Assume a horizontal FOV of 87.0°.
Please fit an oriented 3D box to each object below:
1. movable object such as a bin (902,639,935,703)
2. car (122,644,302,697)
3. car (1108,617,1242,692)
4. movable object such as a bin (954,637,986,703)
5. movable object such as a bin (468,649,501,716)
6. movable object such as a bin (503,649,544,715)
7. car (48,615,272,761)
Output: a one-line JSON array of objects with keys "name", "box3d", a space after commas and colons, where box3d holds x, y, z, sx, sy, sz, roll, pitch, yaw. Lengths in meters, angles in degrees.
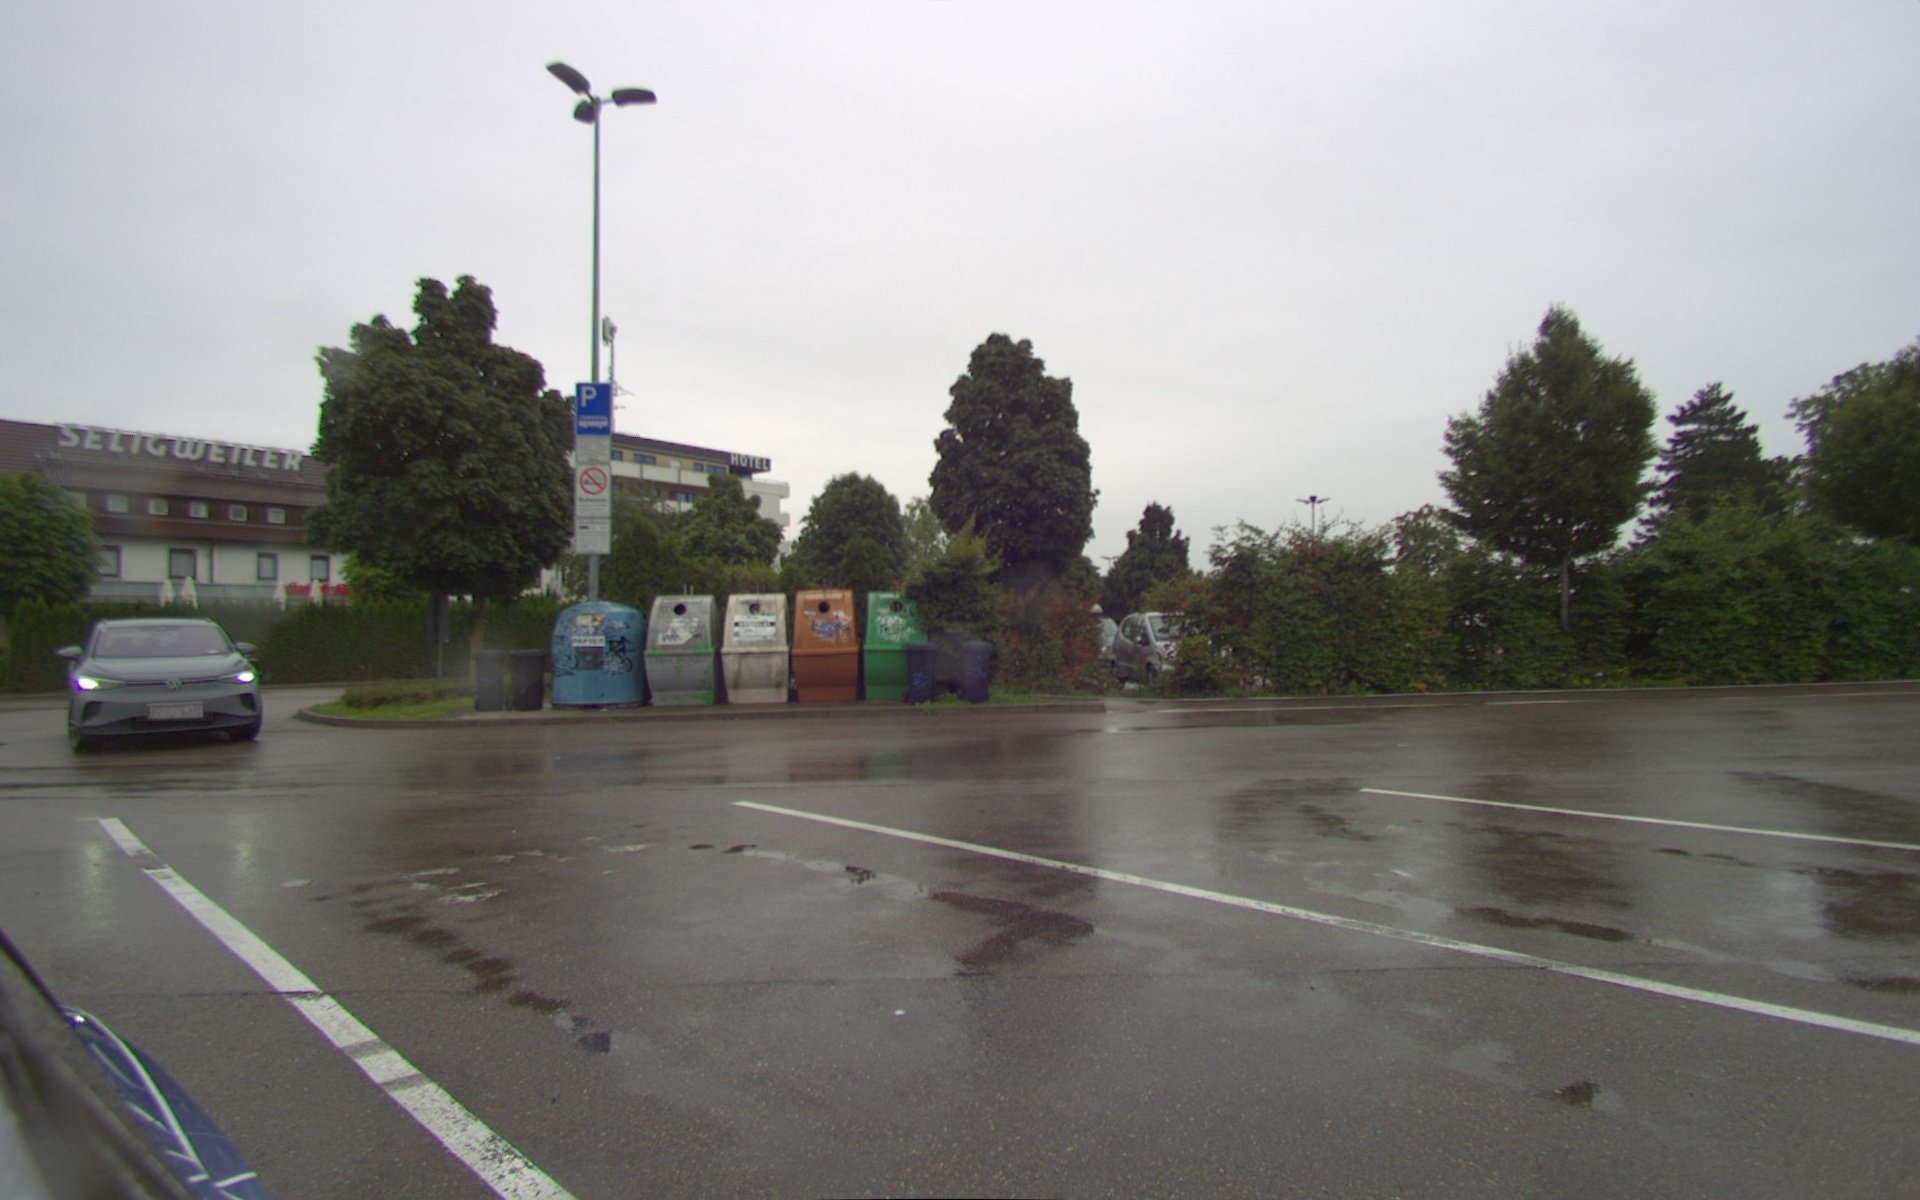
[{"name": "movable object such as a bin", "box3d": [-0.609, 1.044, 15.022, 0.432, 0.930, 0.508, -2, -2, 1]}, {"name": "car", "box3d": [-22.339, 2.099, 30.288, 4.279, 1.460, 1.865, -2, -3, 8]}, {"name": "car", "box3d": [4.079, 1.006, 19.770, 1.782, 1.278, 3.647, -1, -1, 0]}, {"name": "movable object such as a bin", "box3d": [0.141, 1.015, 14.755, 0.432, 0.923, 0.509, -2, -2, -1]}, {"name": "movable object such as a bin", "box3d": [-7.168, 1.236, 15.265, 0.427, 0.956, 0.474, -1, -1, -25]}, {"name": "movable object such as a bin", "box3d": [-6.566, 1.224, 15.233, 0.450, 0.956, 0.400, -3, -1, 41]}, {"name": "car", "box3d": [-10.878, 1.074, 13.629, 1.970, 1.586, 4.504, -1, -2, -43]}]
